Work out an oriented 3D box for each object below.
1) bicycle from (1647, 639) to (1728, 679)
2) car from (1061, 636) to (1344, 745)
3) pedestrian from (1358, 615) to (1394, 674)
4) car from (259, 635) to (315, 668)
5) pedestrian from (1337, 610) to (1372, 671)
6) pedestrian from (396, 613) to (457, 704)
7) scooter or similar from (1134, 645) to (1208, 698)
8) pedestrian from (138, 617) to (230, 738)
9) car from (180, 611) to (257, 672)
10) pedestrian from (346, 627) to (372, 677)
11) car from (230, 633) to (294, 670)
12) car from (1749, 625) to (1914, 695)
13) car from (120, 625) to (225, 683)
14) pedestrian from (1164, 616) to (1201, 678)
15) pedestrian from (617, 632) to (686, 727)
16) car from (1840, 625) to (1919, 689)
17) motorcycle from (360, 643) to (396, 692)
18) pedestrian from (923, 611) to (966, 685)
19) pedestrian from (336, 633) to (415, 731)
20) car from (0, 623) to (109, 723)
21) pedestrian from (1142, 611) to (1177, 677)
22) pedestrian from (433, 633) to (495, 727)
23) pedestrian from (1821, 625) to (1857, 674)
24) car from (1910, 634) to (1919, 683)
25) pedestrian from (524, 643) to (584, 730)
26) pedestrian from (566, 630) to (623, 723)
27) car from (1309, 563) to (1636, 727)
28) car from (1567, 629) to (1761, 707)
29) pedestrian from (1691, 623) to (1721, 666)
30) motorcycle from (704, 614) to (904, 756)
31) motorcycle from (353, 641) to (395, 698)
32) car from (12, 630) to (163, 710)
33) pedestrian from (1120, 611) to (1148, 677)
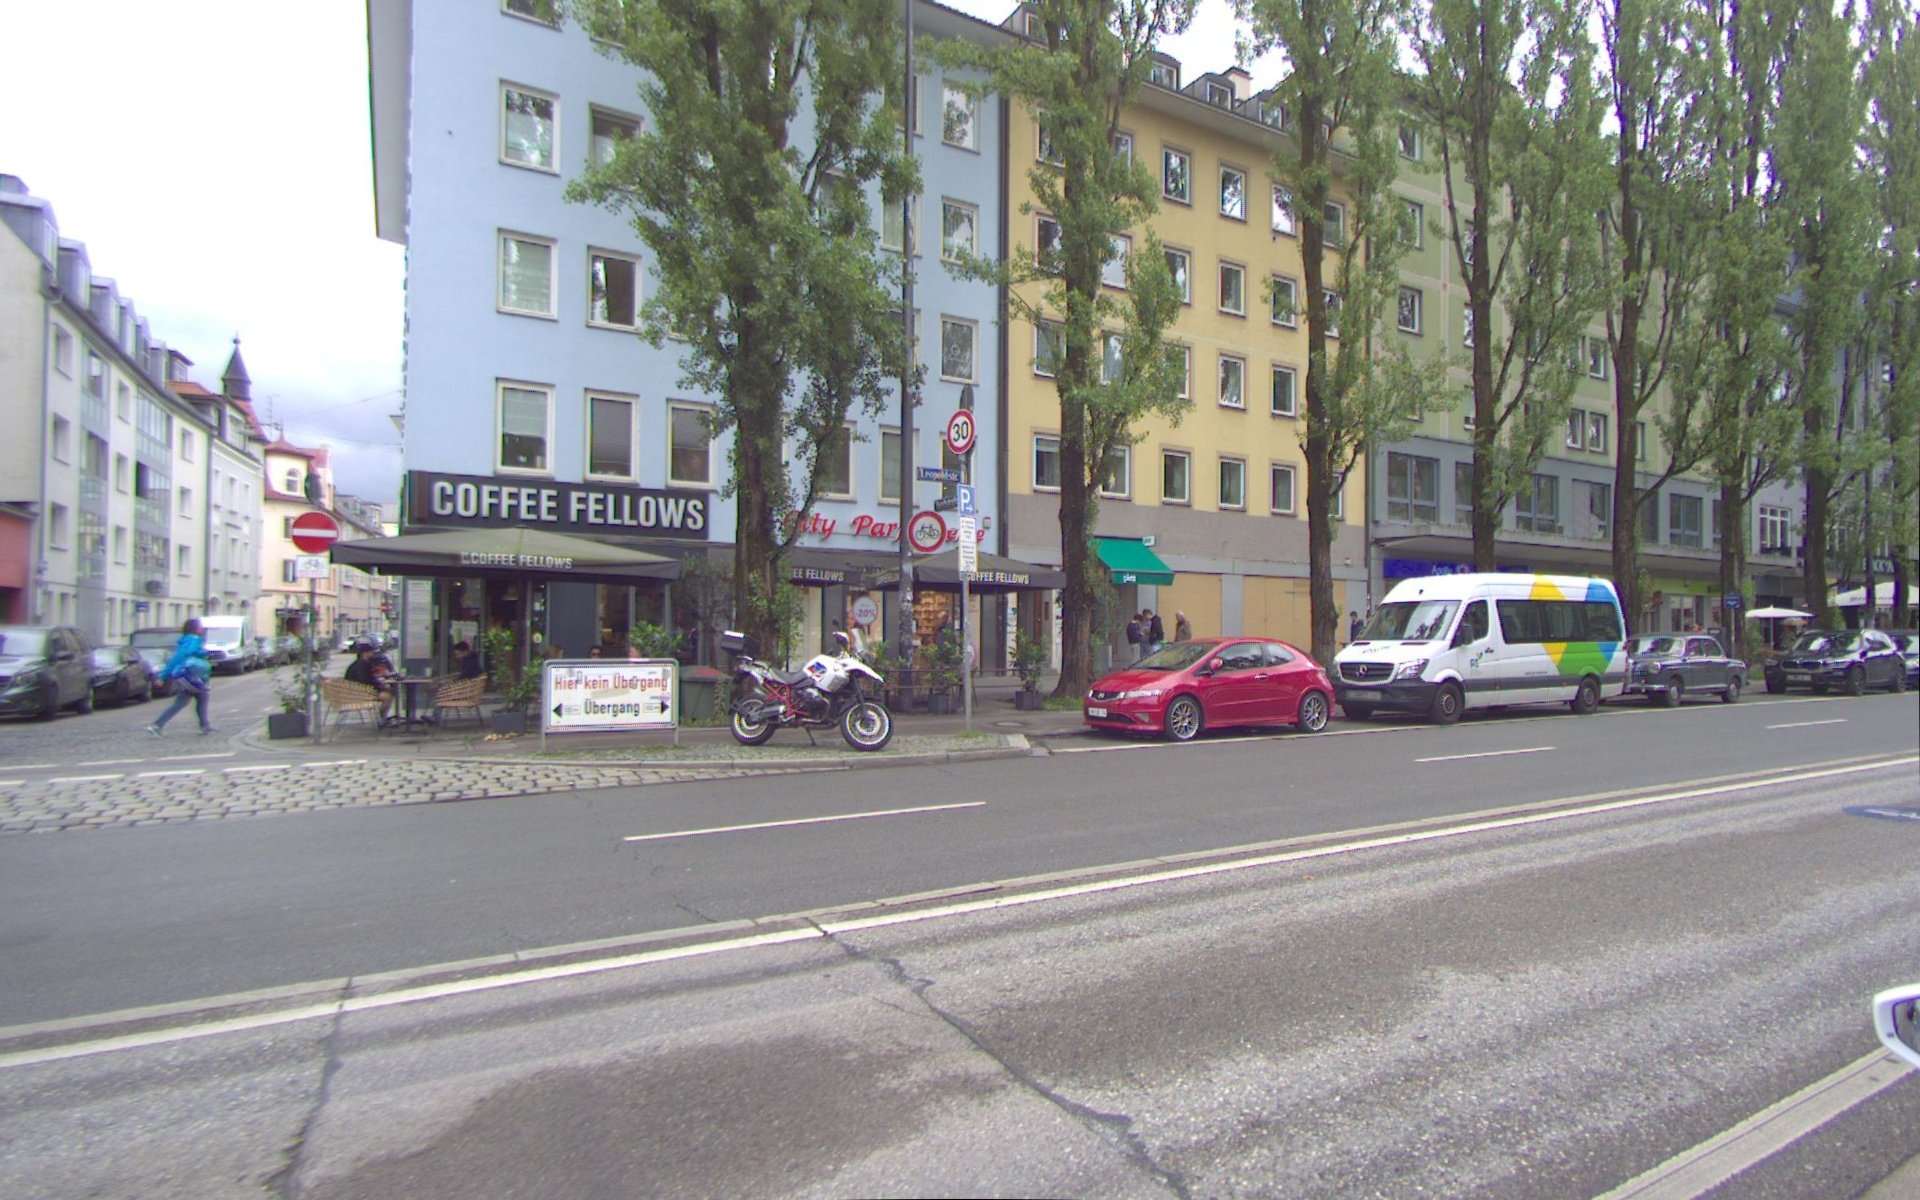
[{"bbox_3d":[22.969,1.859,31.733,0.712,1.110,1.933,1,1,-36],"label":"bicycle"},{"bbox_3d":[3.693,1.280,15.130,4.099,1.438,1.729,1,-3,-30],"label":"car"},{"bbox_3d":[12.324,1.302,29.776,0.717,1.722,0.695,1,-2,-25],"label":"pedestrian"},{"bbox_3d":[-38.413,2.930,57.442,1.957,1.789,4.559,1,-3,-25],"label":"car"},{"bbox_3d":[11.981,1.226,30.508,0.717,1.818,0.695,1,-2,-25],"label":"pedestrian"},{"bbox_3d":[-10.840,1.170,20.412,0.933,1.796,0.699,-1,-2,30],"label":"pedestrian"},{"bbox_3d":[4.377,1.472,20.945,0.416,1.040,1.764,1,-2,-32],"label":"scooter or similar"},{"bbox_3d":[-11.144,1.086,14.431,0.690,1.668,0.944,-1,-2,44],"label":"pedestrian"},{"bbox_3d":[-31.170,1.763,42.340,1.959,2.396,4.554,1,-3,-29],"label":"car"},{"bbox_3d":[-20.355,1.752,34.001,0.692,1.668,0.859,1,-2,-34],"label":"pedestrian"},{"bbox_3d":[-35.768,2.636,51.593,1.957,1.789,4.559,1,-3,-25],"label":"car"},{"bbox_3d":[22.812,1.537,26.256,4.557,1.686,1.858,1,-3,-30],"label":"car"},{"bbox_3d":[-26.360,1.804,33.791,2.093,1.789,4.551,1,-3,-30],"label":"car"},{"bbox_3d":[6.048,1.259,27.321,0.718,1.657,0.695,1,-2,-28],"label":"pedestrian"},{"bbox_3d":[-4.650,1.166,15.134,0.838,1.380,0.694,1,-2,-31],"label":"pedestrian"},{"bbox_3d":[27.314,1.620,29.104,3.880,1.743,1.700,1,-3,-33],"label":"car"},{"bbox_3d":[-15.841,1.798,27.390,0.729,1.219,2.748,-1,-1,-28],"label":"motorcycle"},{"bbox_3d":[-0.363,1.115,23.586,0.775,1.708,0.753,1,-2,-27],"label":"pedestrian"},{"bbox_3d":[-8.603,1.183,14.818,0.938,1.380,0.695,1,-2,-27],"label":"pedestrian"},{"bbox_3d":[-18.623,1.404,19.811,1.960,1.789,4.551,1,-3,-30],"label":"car"},{"bbox_3d":[5.064,1.111,25.513,0.713,1.657,0.699,0,-1,-6],"label":"pedestrian"},{"bbox_3d":[-7.527,1.188,15.254,0.808,1.380,0.695,1,-2,-27],"label":"pedestrian"},{"bbox_3d":[31.096,1.740,35.540,0.667,1.708,0.753,2,-2,-29],"label":"pedestrian"},{"bbox_3d":[32.047,1.829,31.732,4.299,1.508,1.790,1,-3,-30],"label":"car"},{"bbox_3d":[-5.932,1.238,14.659,0.692,1.198,0.811,1,-2,-31],"label":"pedestrian"},{"bbox_3d":[-5.611,1.149,15.424,0.692,1.380,0.709,1,-2,-32],"label":"pedestrian"},{"bbox_3d":[9.626,0.819,18.611,6.831,2.601,1.996,1,-3,-30],"label":"car"},{"bbox_3d":[15.618,1.457,22.251,4.362,1.572,1.858,1,-3,-30],"label":"car"},{"bbox_3d":[29.908,1.796,40.280,0.667,1.708,0.753,2,-2,-29],"label":"pedestrian"},{"bbox_3d":[-1.887,0.975,12.127,2.301,1.584,0.715,1,0,18],"label":"motorcycle"},{"bbox_3d":[-13.620,1.582,23.400,0.729,1.219,2.748,-1,-1,-28],"label":"motorcycle"},{"bbox_3d":[-21.542,1.683,25.022,1.960,1.789,4.551,1,-3,-30],"label":"car"},{"bbox_3d":[4.450,1.124,25.688,0.553,1.657,0.699,0,-1,-6],"label":"pedestrian"}]
